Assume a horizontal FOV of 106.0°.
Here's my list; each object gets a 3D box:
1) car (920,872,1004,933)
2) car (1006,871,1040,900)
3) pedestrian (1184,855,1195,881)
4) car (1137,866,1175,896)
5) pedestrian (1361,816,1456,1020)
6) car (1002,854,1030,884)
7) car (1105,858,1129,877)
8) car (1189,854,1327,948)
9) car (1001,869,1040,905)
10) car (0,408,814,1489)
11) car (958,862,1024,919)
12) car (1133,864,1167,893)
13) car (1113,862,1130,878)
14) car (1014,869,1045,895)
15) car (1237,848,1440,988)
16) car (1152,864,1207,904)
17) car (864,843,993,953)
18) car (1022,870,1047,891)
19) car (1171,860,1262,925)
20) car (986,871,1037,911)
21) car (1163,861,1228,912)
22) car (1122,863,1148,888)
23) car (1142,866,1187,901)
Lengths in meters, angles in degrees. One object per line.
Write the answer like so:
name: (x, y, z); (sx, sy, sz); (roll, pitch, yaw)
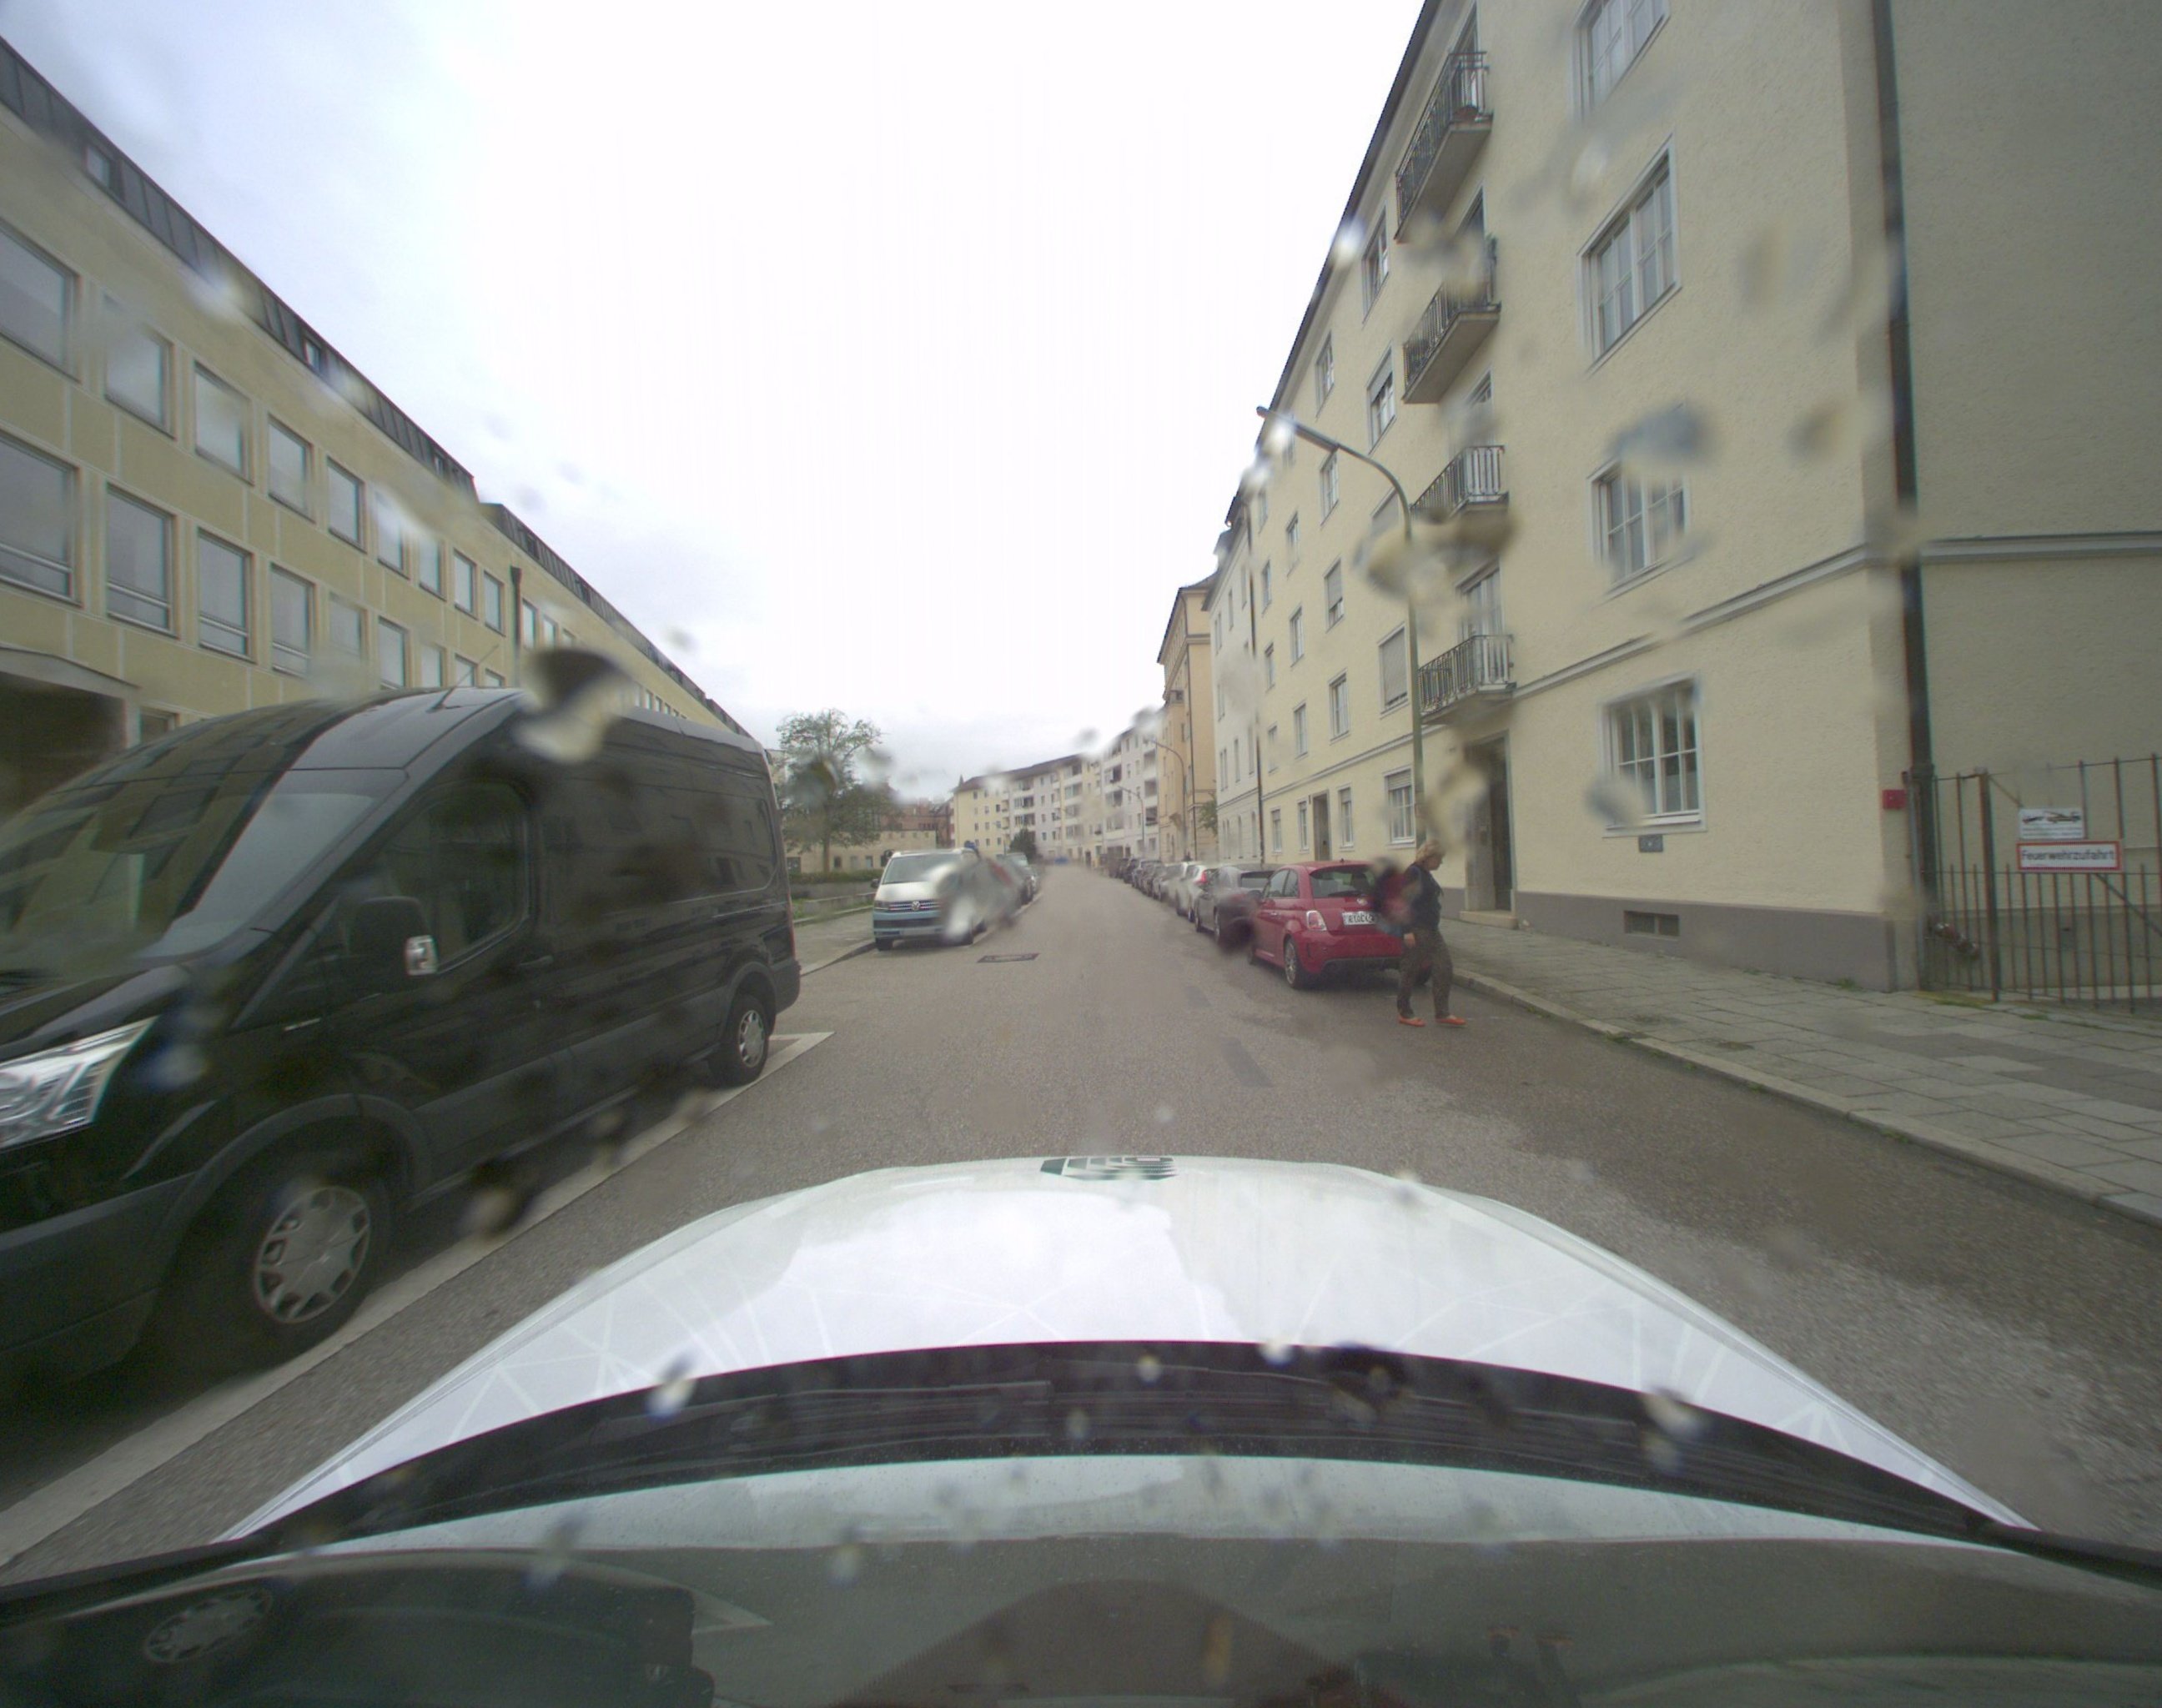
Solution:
car: (-3.169, 1.266, 22.311); (1.647, 1.373, 3.652); (-4, -1, 0)
car: (-3.079, 1.672, 44.107); (1.619, 1.419, 3.978); (-3, -1, -2)
pedestrian: (7.252, 0.945, 54.465); (0.664, 1.693, 0.690); (0, -2, 1)
car: (3.755, 1.324, 41.120); (1.585, 1.432, 3.825); (0, -1, 0)
pedestrian: (3.002, 0.563, 7.444); (0.664, 1.728, 0.801); (-2, -3, 29)
car: (-5.954, 1.392, 74.156); (1.775, 2.654, 3.976); (1, -2, -17)
car: (3.245, 1.207, 73.149); (1.601, 1.715, 3.080); (0, -1, -8)
car: (3.217, 0.834, 15.676); (1.687, 1.492, 4.342); (-2, -1, 0)
car: (-2.802, 1.525, 38.323); (1.619, 1.508, 3.978); (-3, -1, -2)
car: (-3.549, 0.257, 4.454); (2.079, 2.636, 5.380); (-2, 0, 3)
car: (-3.000, 1.181, 27.887); (1.696, 1.691, 4.027); (-4, -1, 0)
car: (3.878, 1.353, 46.170); (1.585, 1.582, 4.298); (0, -1, 0)
car: (3.362, 1.322, 67.939); (1.268, 1.299, 2.796); (-1, -1, 0)
car: (-3.100, 1.691, 49.420); (1.619, 1.419, 3.979); (-3, -1, -1)
car: (3.217, 0.738, 10.951); (1.589, 1.509, 3.802); (-2, -1, 2)
car: (3.773, 1.131, 31.680); (1.687, 1.433, 3.943); (0, -1, 0)
car: (-3.094, 0.842, 17.543); (1.877, 1.932, 4.598); (-4, -1, -1)
car: (-3.327, 1.877, 58.972); (1.619, 1.419, 3.646); (-3, -1, -1)
car: (3.490, 0.952, 21.763); (1.687, 1.491, 4.282); (-2, -1, 0)
car: (-2.774, 1.456, 33.218); (1.618, 1.412, 3.798); (-4, -1, 0)
car: (3.675, 1.012, 26.684); (1.593, 1.491, 3.799); (-1, 0, 1)
car: (3.689, 1.454, 56.016); (1.469, 1.641, 4.000); (0, -1, 0)
car: (3.697, 1.295, 36.647); (1.585, 1.432, 4.420); (0, -1, 0)
